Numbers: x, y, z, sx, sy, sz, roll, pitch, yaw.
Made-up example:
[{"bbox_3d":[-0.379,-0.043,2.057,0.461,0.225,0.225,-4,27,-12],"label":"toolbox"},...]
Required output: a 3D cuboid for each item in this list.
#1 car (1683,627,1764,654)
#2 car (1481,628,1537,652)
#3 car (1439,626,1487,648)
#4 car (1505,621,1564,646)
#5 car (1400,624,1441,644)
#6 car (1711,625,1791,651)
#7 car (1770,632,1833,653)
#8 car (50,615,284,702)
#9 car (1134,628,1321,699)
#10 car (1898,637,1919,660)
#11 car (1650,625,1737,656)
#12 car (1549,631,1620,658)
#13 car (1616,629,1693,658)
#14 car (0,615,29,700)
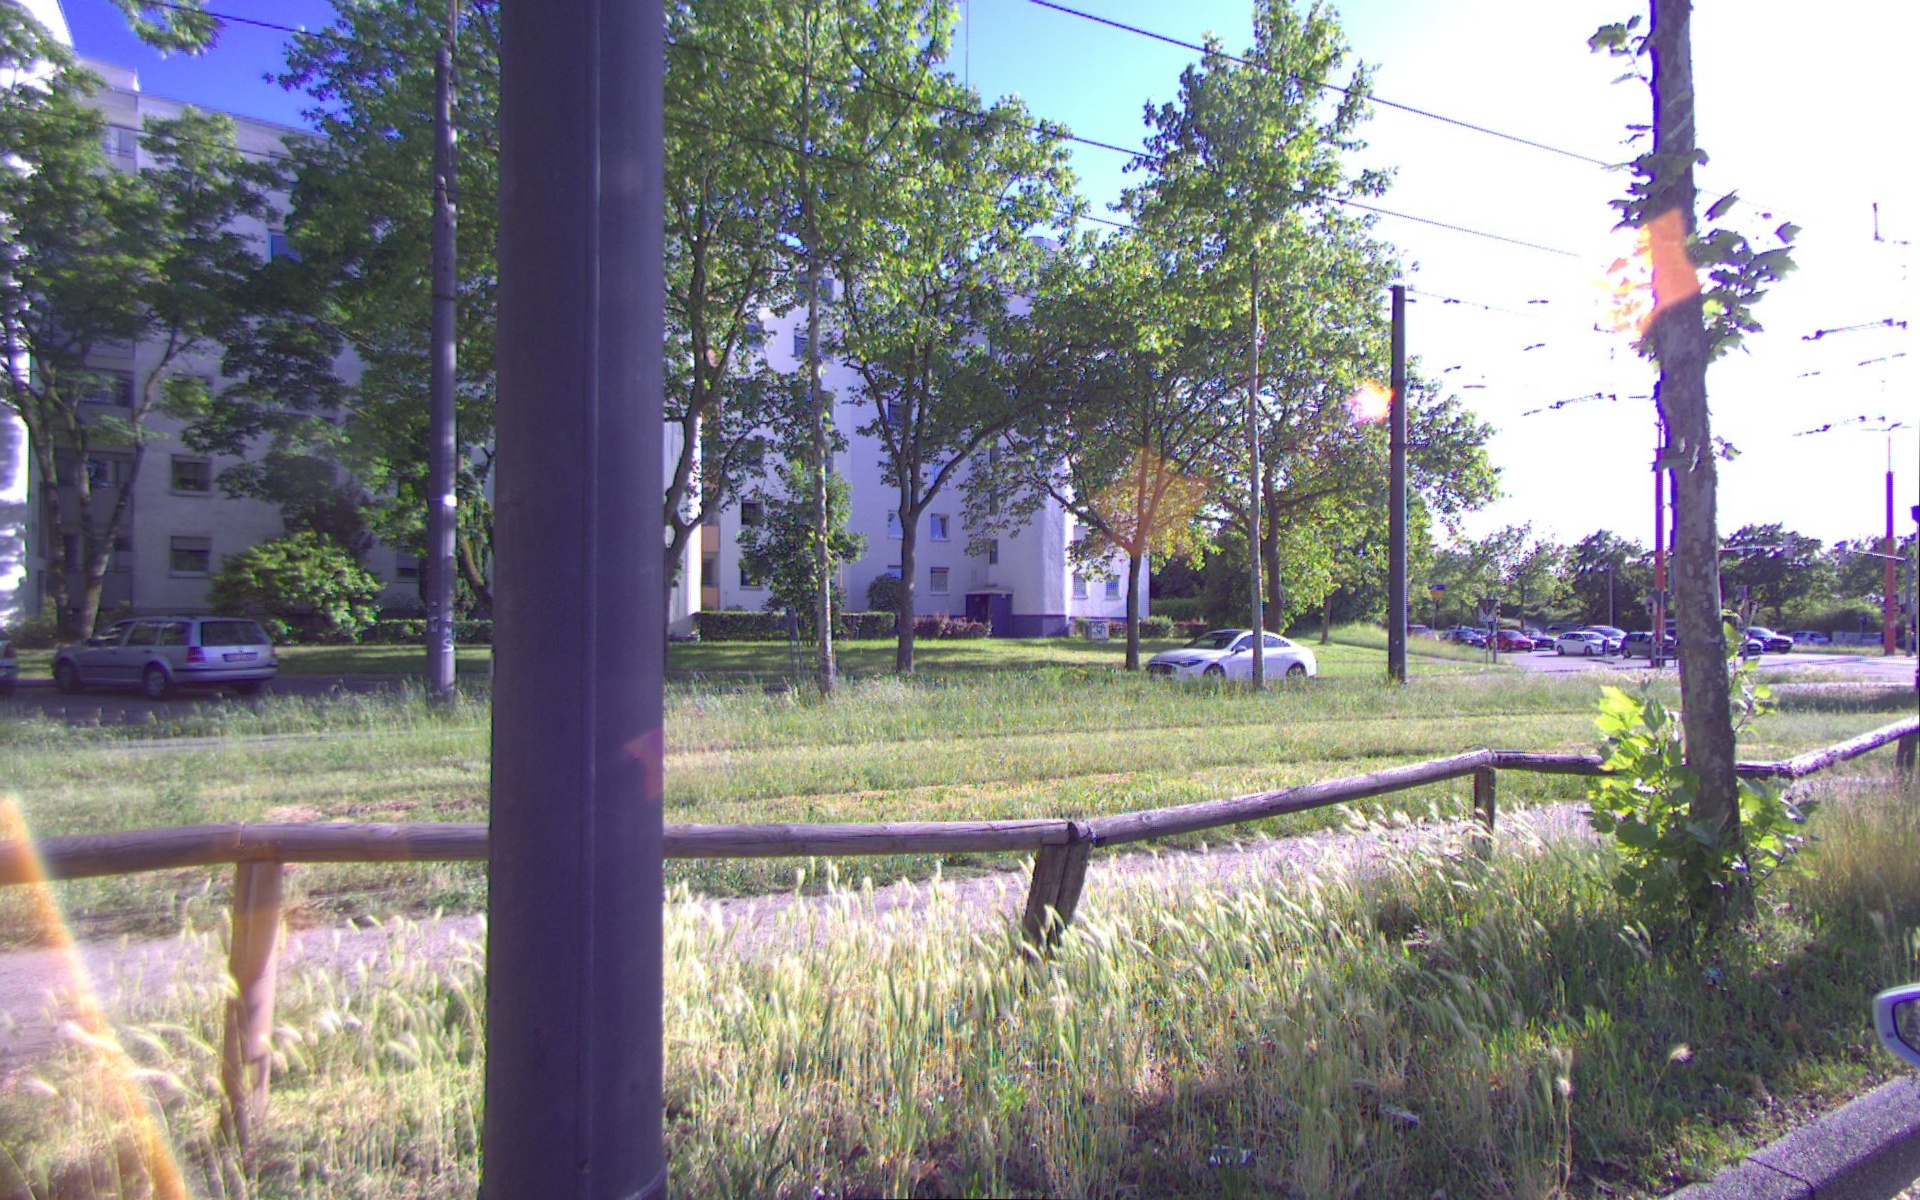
[{"bbox_3d":[45.575,2.393,60.064,1.513,1.434,4.154,1,-1,-3],"label":"car"},{"bbox_3d":[38.448,2.777,70.452,1.624,1.540,4.200,1,-1,1],"label":"car"},{"bbox_3d":[38.661,2.817,77.255,1.624,1.540,4.200,1,-1,1],"label":"car"},{"bbox_3d":[42.270,2.432,74.071,1.721,1.669,4.644,1,-1,1],"label":"car"},{"bbox_3d":[38.644,2.817,84.394,1.624,1.540,4.200,1,-1,1],"label":"car"},{"bbox_3d":[48.654,2.323,61.897,1.513,1.434,4.154,1,-1,-3],"label":"car"},{"bbox_3d":[63.352,3.187,75.716,1.624,1.421,3.805,1,-1,1],"label":"car"},{"bbox_3d":[-14.534,1.011,18.429,3.830,1.421,1.581,1,0,20],"label":"car"},{"bbox_3d":[6.499,1.475,24.202,4.590,1.530,1.643,1,-1,-31],"label":"car"},{"bbox_3d":[60.780,3.039,62.352,1.624,1.421,3.805,1,-1,1],"label":"car"},{"bbox_3d":[42.328,2.309,58.106,1.624,1.669,4.644,1,-1,1],"label":"car"},{"bbox_3d":[38.919,2.756,62.737,1.624,1.540,4.638,1,-1,1],"label":"car"},{"bbox_3d":[38.966,2.408,56.449,1.624,1.460,3.841,1,-1,-2],"label":"car"},{"bbox_3d":[-17.983,0.948,17.155,3.567,1.421,1.581,1,0,20],"label":"car"}]
